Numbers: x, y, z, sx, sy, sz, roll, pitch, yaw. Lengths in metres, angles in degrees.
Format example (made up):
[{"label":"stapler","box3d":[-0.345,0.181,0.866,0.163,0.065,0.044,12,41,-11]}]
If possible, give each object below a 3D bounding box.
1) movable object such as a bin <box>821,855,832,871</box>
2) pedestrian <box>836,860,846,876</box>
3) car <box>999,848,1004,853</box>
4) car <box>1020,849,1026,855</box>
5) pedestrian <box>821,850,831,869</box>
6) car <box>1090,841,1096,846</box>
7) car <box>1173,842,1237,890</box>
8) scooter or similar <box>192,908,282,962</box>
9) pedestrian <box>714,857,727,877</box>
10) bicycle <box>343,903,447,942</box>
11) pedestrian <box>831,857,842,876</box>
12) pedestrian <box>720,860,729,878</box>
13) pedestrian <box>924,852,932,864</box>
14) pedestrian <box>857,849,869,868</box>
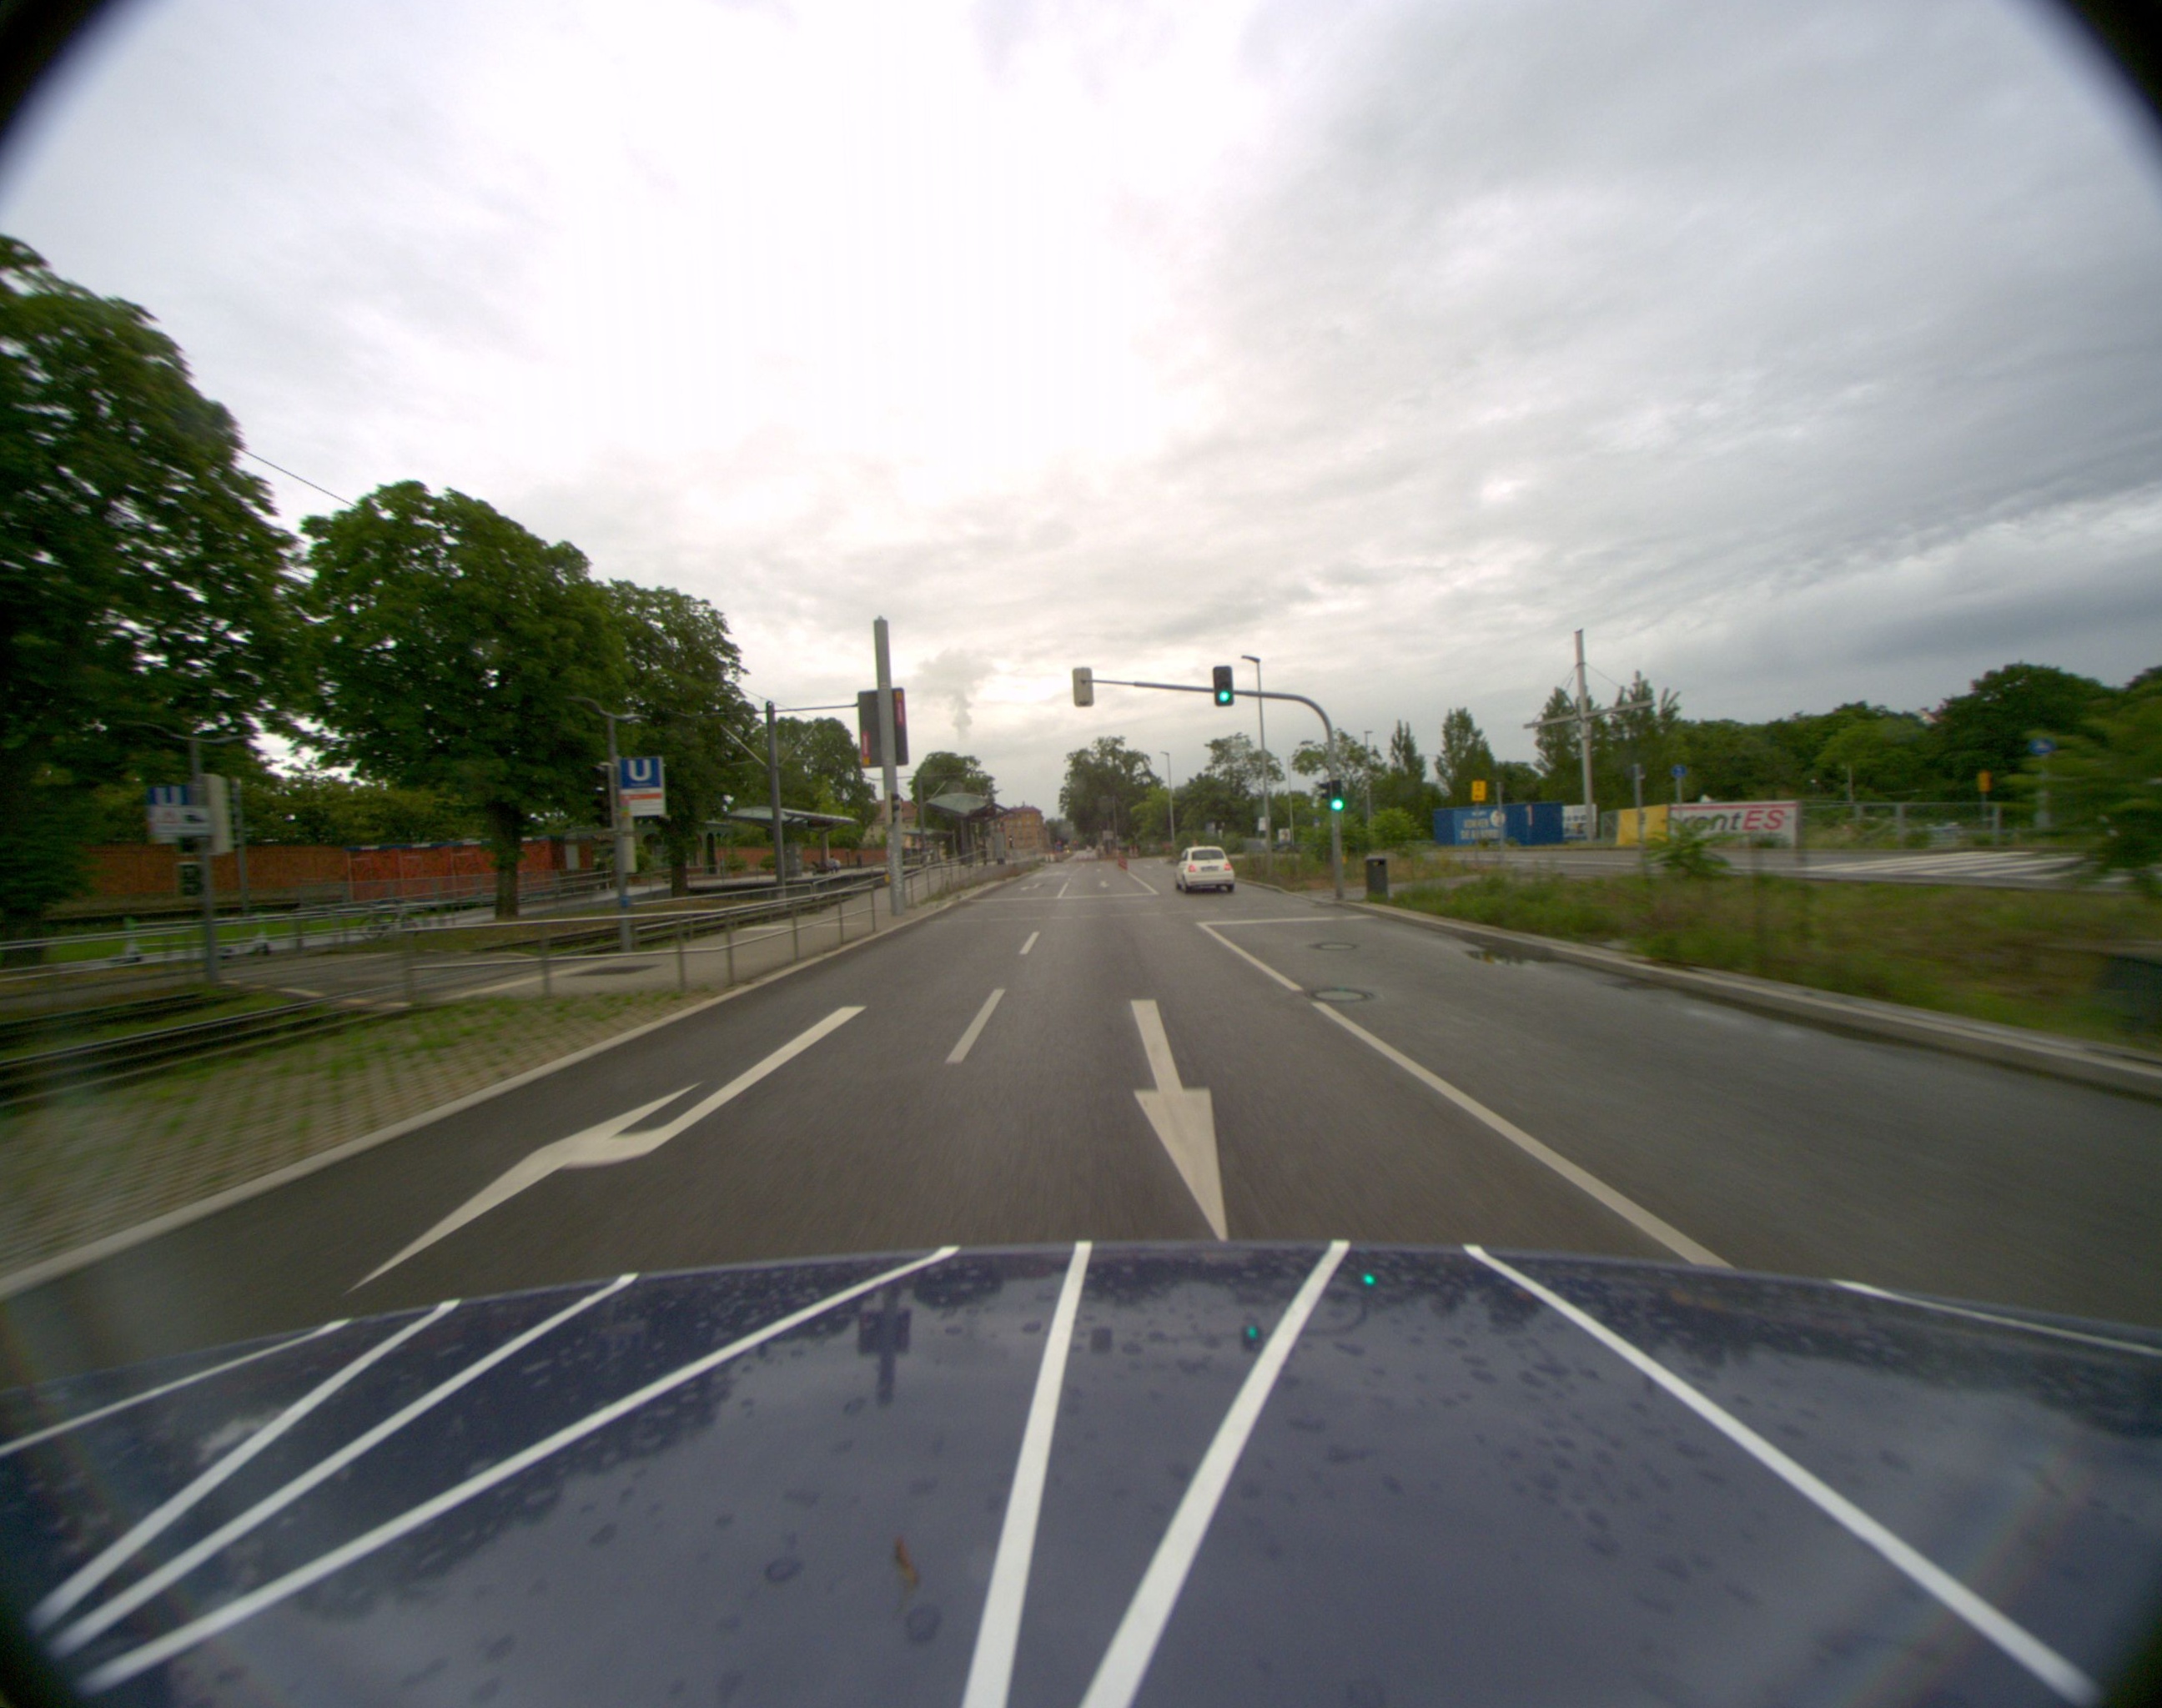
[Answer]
[{"label":"movable object such as a bin","box3d":[-16.783,0.585,50.173,0.438,1.003,0.682,-2,1,2]},{"label":"pedestrian","box3d":[-15.789,0.917,49.992,0.438,1.003,0.551,-2,1,2]},{"label":"car","box3d":[-27.203,-1.150,260.091,1.831,1.574,3.997,-4,1,-5]},{"label":"car","box3d":[-18.474,-0.764,241.582,1.844,1.630,4.140,-7,2,-4]},{"label":"pedestrian","box3d":[-16.431,0.339,48.976,0.438,1.219,0.551,-2,1,2]},{"label":"car","box3d":[3.760,-3.198,241.038,1.713,1.490,4.718,-3,1,0]},{"label":"car","box3d":[4.151,0.357,25.952,1.591,1.483,3.714,-2,1,1]},{"label":"scooter or similar","box3d":[-19.646,1.883,17.694,1.547,1.130,0.431,-2,1,0]},{"label":"pedestrian","box3d":[-33.424,1.209,70.437,0.532,1.701,0.695,-5,3,12]},{"label":"bicycle","box3d":[-19.134,1.901,21.210,2.327,0.951,0.570,-2,1,0]},{"label":"pedestrian","box3d":[-15.795,0.819,49.038,0.438,1.219,0.551,-2,1,2]},{"label":"pedestrian","box3d":[-33.449,1.407,71.294,0.550,1.647,0.470,-3,2,35]},{"label":"pedestrian","box3d":[-15.747,0.417,78.186,0.520,1.206,0.782,-8,2,-3]},{"label":"pedestrian","box3d":[-21.133,0.458,73.612,0.722,1.780,1.182,-2,1,1]}]
